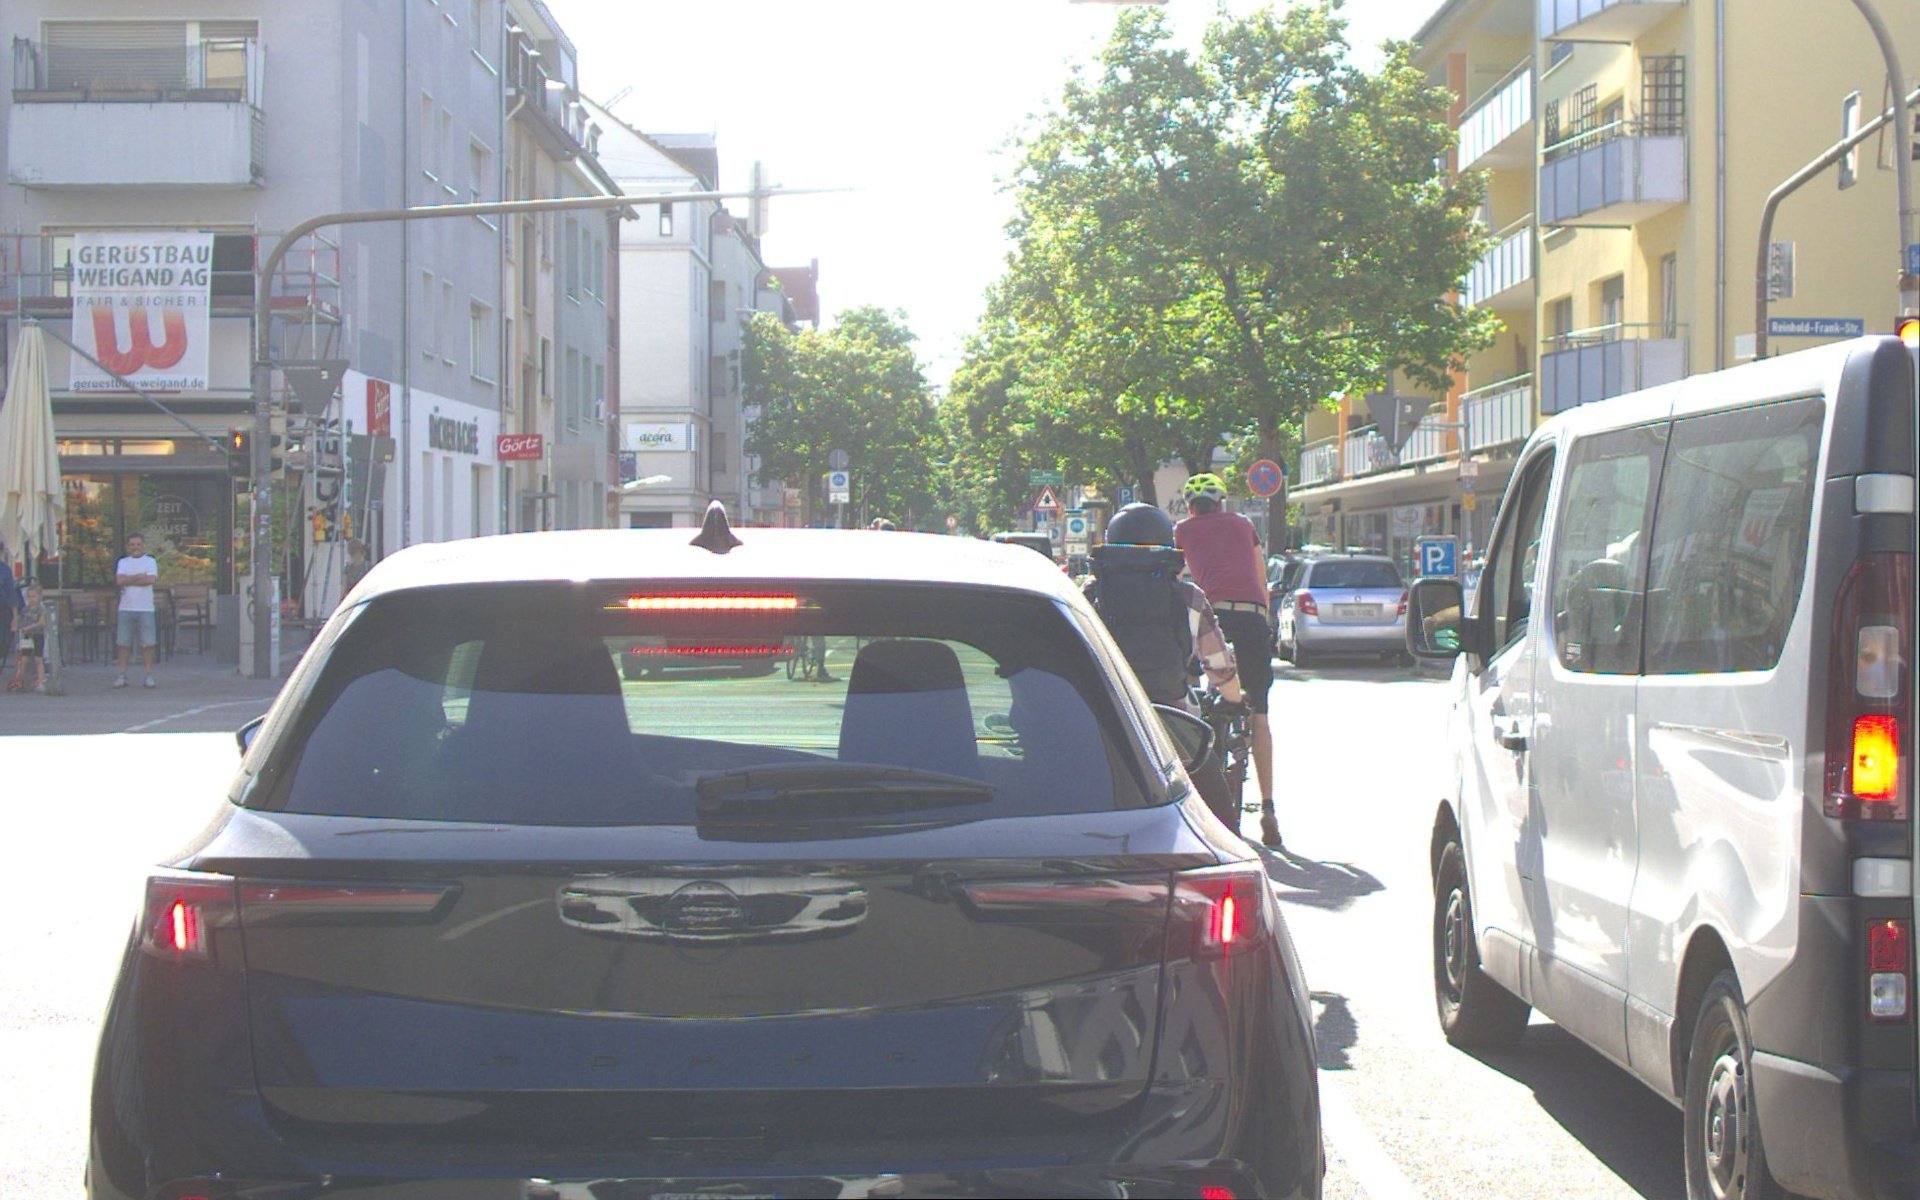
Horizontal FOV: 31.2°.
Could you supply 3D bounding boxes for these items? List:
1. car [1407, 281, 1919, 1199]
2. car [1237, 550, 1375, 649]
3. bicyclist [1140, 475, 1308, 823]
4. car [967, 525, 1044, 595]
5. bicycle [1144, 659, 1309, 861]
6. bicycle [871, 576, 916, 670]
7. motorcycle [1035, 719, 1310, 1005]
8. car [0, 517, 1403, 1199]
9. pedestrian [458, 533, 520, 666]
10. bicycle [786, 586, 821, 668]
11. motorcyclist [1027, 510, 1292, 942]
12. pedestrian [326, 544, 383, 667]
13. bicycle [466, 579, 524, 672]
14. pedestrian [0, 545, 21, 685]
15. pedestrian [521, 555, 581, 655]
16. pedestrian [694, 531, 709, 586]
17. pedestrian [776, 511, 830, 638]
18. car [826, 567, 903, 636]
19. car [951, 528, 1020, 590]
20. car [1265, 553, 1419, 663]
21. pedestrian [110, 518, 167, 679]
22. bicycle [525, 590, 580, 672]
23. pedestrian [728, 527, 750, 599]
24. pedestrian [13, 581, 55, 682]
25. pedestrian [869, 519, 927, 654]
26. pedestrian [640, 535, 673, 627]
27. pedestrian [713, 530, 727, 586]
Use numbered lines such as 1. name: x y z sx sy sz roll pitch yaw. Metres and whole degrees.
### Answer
1. car: 2.468 0.418 8.529 1.993 1.972 4.895 2 1 0
2. car: 5.182 -0.041 51.931 1.634 1.428 4.000 0 1 -1
3. bicyclist: 1.332 0.229 17.598 0.689 1.707 1.414 0 1 -2
4. car: 1.126 -1.029 87.383 1.902 1.722 4.073 0 1 0
5. bicycle: 1.350 0.792 17.753 0.577 0.901 2.301 0 1 -2
6. bicycle: -0.848 0.276 43.478 0.521 1.143 2.170 0 1 -2
7. motorcycle: 0.717 0.893 12.216 0.825 0.842 1.885 0 1 -1
8. car: -0.410 0.627 6.333 1.770 1.525 4.001 0 1 -2
9. pedestrian: -5.984 -0.011 43.686 0.706 1.672 0.802 0 1 -2
10. bicycle: -2.001 0.335 44.053 0.443 0.989 2.069 0 1 -2
11. motorcyclist: 0.703 0.430 12.499 0.864 1.497 1.160 0 1 -2
12. pedestrian: -7.542 0.061 42.828 0.617 1.516 0.725 0 1 -3
13. bicycle: -5.943 0.309 43.995 0.521 1.143 2.284 0 1 -2
14. pedestrian: -10.601 0.157 37.473 0.584 1.516 0.650 0 1 -3
15. pedestrian: -5.182 0.054 43.586 0.706 1.249 0.802 0 1 -2
16. pedestrian: -7.782 -1.255 103.494 0.402 1.669 0.418 0 1 -1
17. pedestrian: -1.995 -0.328 43.797 0.680 1.600 0.762 0 1 -2
18. car: -2.474 0.023 89.962 1.825 1.722 4.000 0 1 1
19. car: 0.708 -1.167 97.349 1.902 1.722 4.000 0 1 0
20. car: 5.217 0.077 47.300 1.634 1.428 3.957 0 1 -1
21. pedestrian: -9.095 -0.023 38.066 0.561 1.769 0.584 0 1 -9
22. bicycle: -5.193 0.383 43.915 0.521 0.989 2.340 0 1 -2
23. pedestrian: -5.209 -0.874 80.936 0.488 1.684 0.588 0 1 -1
24. pedestrian: -10.106 0.341 37.529 0.355 1.088 0.462 0 1 -3
25. pedestrian: -0.790 -0.174 43.459 0.706 1.695 0.802 0 1 -2
26. pedestrian: -5.572 -0.358 63.134 0.570 1.684 0.588 0 1 -1
27. pedestrian: -7.199 -1.256 103.087 0.402 1.669 0.418 0 1 -1
